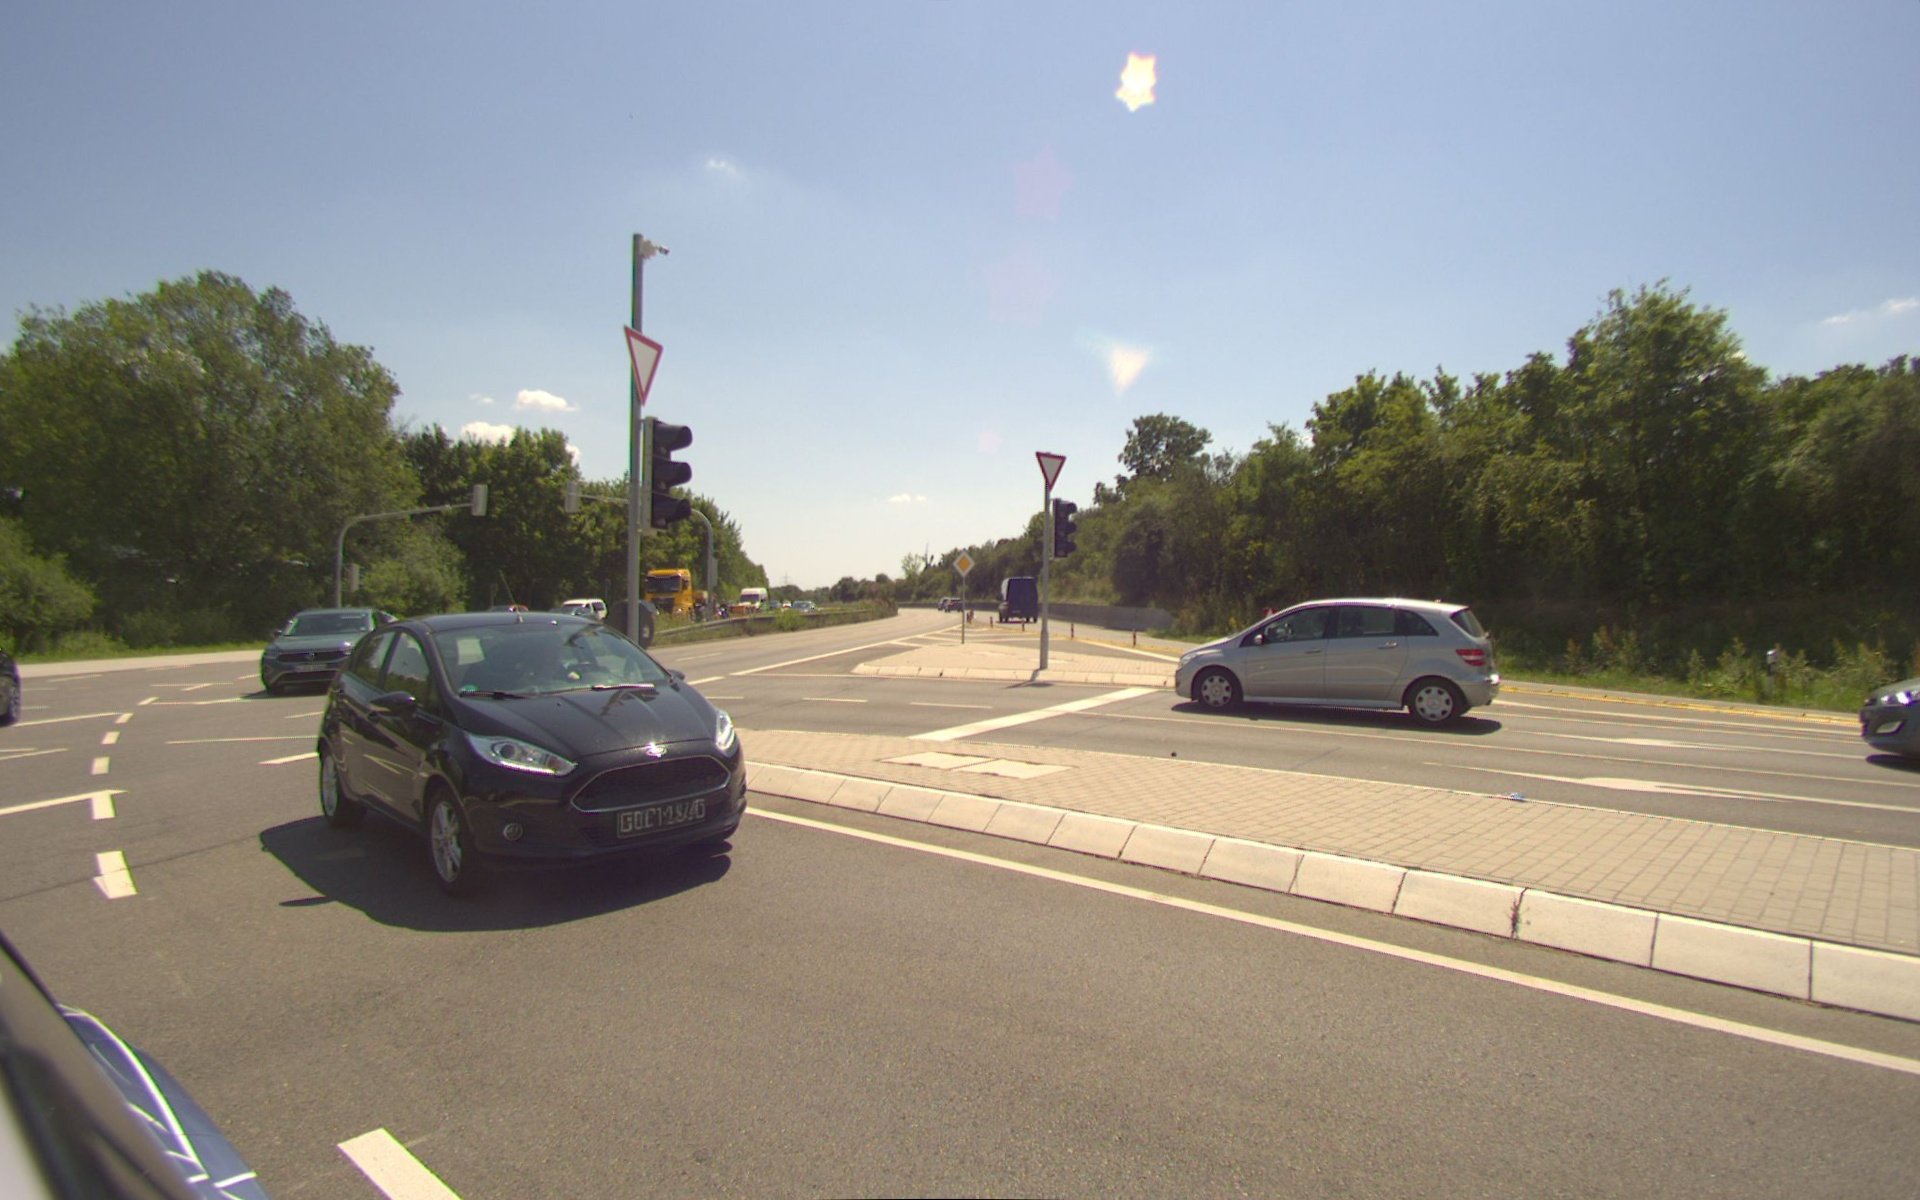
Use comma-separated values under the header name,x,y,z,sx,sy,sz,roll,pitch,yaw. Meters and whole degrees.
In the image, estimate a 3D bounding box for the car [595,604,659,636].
name,x,y,z,sx,sy,sz,roll,pitch,yaw
car,-19.083,1.112,58.193,1.767,1.652,4.640,-1,0,5

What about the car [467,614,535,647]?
name,x,y,z,sx,sy,sz,roll,pitch,yaw
car,-23.478,1.543,51.889,1.749,1.521,3.649,-1,0,2

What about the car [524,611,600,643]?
name,x,y,z,sx,sy,sz,roll,pitch,yaw
car,-20.035,1.342,51.129,1.751,1.421,4.604,-1,0,4

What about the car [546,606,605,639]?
name,x,y,z,sx,sy,sz,roll,pitch,yaw
car,-22.811,1.287,60.258,1.748,1.821,4.793,-1,0,-1

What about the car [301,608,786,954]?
name,x,y,z,sx,sy,sz,roll,pitch,yaw
car,-2.903,0.818,6.512,1.603,1.496,4.005,-1,1,-42

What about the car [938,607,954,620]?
name,x,y,z,sx,sy,sz,roll,pitch,yaw
car,-1.955,1.862,143.148,1.970,1.786,4.862,0,0,-4

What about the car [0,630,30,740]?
name,x,y,z,sx,sy,sz,roll,pitch,yaw
car,-13.277,1.155,12.591,1.703,1.450,4.316,-1,0,-32

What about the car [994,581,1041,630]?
name,x,y,z,sx,sy,sz,roll,pitch,yaw
car,3.395,0.294,60.826,2.035,2.724,5.902,-1,0,-4

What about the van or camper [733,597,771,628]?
name,x,y,z,sx,sy,sz,roll,pitch,yaw
van or camper,-18.336,1.020,89.293,2.041,2.593,5.906,-1,0,1

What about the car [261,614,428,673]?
name,x,y,z,sx,sy,sz,roll,pitch,yaw
car,-17.661,1.211,29.265,1.873,1.475,3.983,-1,0,13

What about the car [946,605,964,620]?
name,x,y,z,sx,sy,sz,roll,pitch,yaw
car,-0.621,1.413,119.222,1.971,1.705,4.659,0,0,-2

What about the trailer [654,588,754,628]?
name,x,y,z,sx,sy,sz,roll,pitch,yaw
trailer,-18.675,0.537,75.504,2.996,2.613,16.349,-1,0,1

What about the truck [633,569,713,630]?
name,x,y,z,sx,sy,sz,roll,pitch,yaw
truck,-18.863,-0.045,67.018,2.982,3.801,7.466,-1,0,1

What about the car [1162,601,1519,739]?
name,x,y,z,sx,sy,sz,roll,pitch,yaw
car,5.121,0.829,13.843,4.317,1.607,1.757,0,0,33

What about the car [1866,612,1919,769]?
name,x,y,z,sx,sy,sz,roll,pitch,yaw
car,10.894,0.867,8.906,4.328,1.467,1.674,0,-1,42

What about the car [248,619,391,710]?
name,x,y,z,sx,sy,sz,roll,pitch,yaw
car,-12.296,1.156,19.682,1.678,1.475,4.013,-1,0,-23
